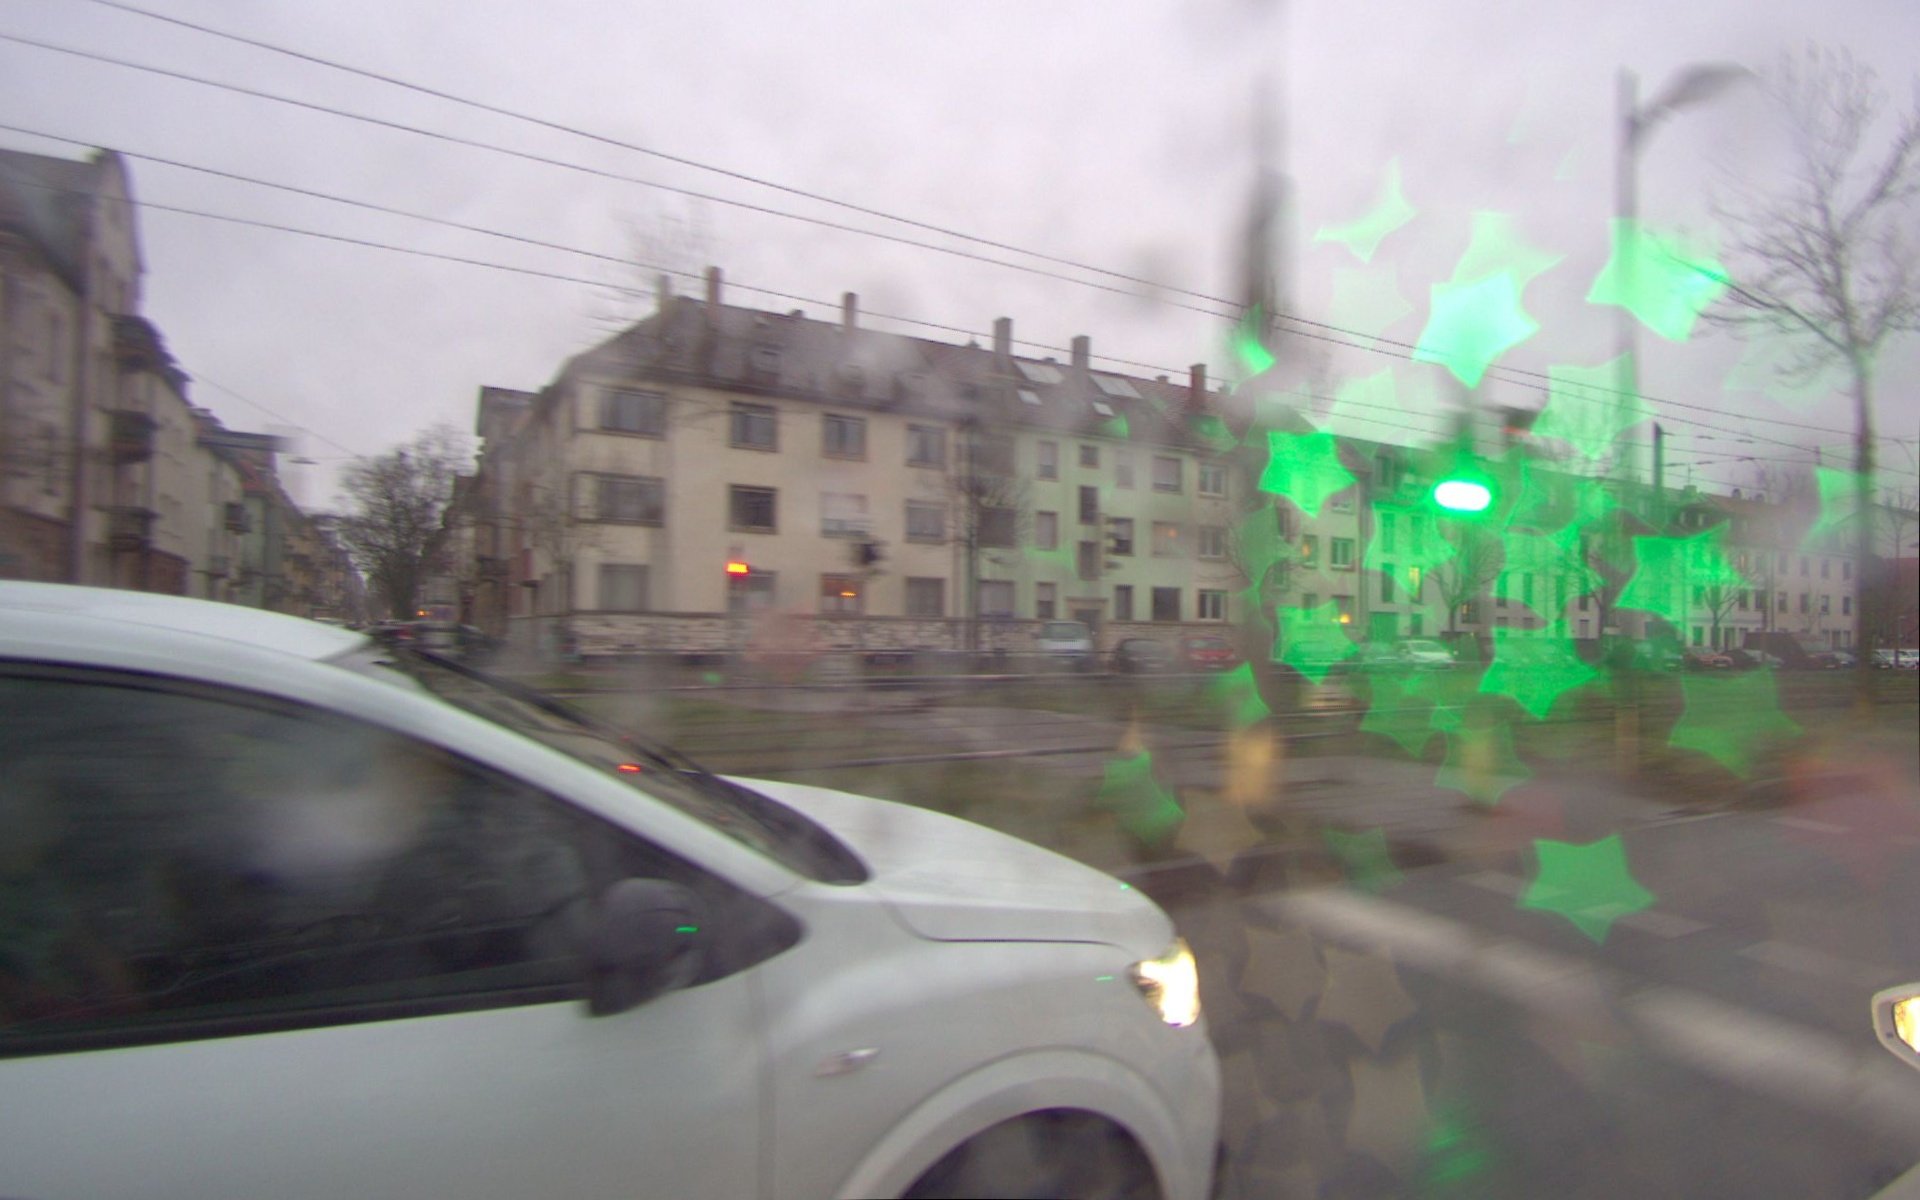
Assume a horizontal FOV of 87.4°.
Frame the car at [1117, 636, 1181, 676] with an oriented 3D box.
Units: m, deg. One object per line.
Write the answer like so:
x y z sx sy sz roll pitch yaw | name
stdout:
6.632 1.952 35.572 1.702 1.156 3.573 2 0 2 | car

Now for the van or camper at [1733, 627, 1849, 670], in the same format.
52.991 3.027 64.284 1.960 2.391 6.884 2 0 4 | van or camper

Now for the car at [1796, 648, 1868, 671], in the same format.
58.009 3.941 66.892 1.713 1.228 3.541 2 0 1 | car

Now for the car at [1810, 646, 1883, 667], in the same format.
60.232 3.812 68.308 1.845 1.216 3.541 2 0 1 | car

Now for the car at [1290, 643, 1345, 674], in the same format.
14.224 2.314 40.033 1.408 1.062 2.393 1 0 2 | car

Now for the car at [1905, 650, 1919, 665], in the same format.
74.717 4.460 76.446 1.648 1.131 4.190 2 0 1 | car

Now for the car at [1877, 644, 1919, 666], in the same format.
69.496 4.033 73.285 1.737 1.397 4.126 2 0 7 | car

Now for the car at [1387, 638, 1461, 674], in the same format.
19.775 2.376 42.975 1.702 1.262 3.845 2 0 6 | car

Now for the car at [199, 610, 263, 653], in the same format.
-32.262 1.361 44.554 1.781 1.731 3.680 2 0 -28 | car

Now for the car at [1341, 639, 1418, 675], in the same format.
17.199 2.308 41.371 1.703 1.188 3.822 2 0 2 | car

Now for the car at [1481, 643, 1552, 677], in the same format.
25.789 2.758 46.624 1.703 1.354 2.937 2 0 2 | car

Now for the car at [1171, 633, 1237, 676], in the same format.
8.913 1.962 36.940 1.653 1.326 3.581 2 0 2 | car

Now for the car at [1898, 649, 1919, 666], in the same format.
71.988 4.358 74.818 1.369 1.162 3.045 2 0 1 | car

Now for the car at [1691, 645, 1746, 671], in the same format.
45.078 3.430 59.759 1.360 1.320 3.099 2 0 11 | car

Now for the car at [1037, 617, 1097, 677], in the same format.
3.545 1.513 33.931 1.796 1.746 4.660 2 0 4 | car

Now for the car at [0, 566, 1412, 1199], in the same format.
-1.202 0.707 1.779 3.955 1.494 1.680 2 0 -31 | car

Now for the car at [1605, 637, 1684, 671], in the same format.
36.256 2.815 53.319 1.636 1.561 4.165 2 0 6 | car

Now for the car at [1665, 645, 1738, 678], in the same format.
41.820 3.440 56.735 1.707 1.610 3.852 2 0 9 | car

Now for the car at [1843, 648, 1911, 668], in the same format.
63.589 4.033 69.711 1.658 1.162 3.419 2 0 1 | car

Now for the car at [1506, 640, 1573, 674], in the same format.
27.941 2.734 48.556 1.636 1.441 3.387 2 0 8 | car

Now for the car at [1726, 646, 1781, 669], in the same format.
47.473 3.417 60.134 1.360 1.220 2.890 2 0 11 | car
